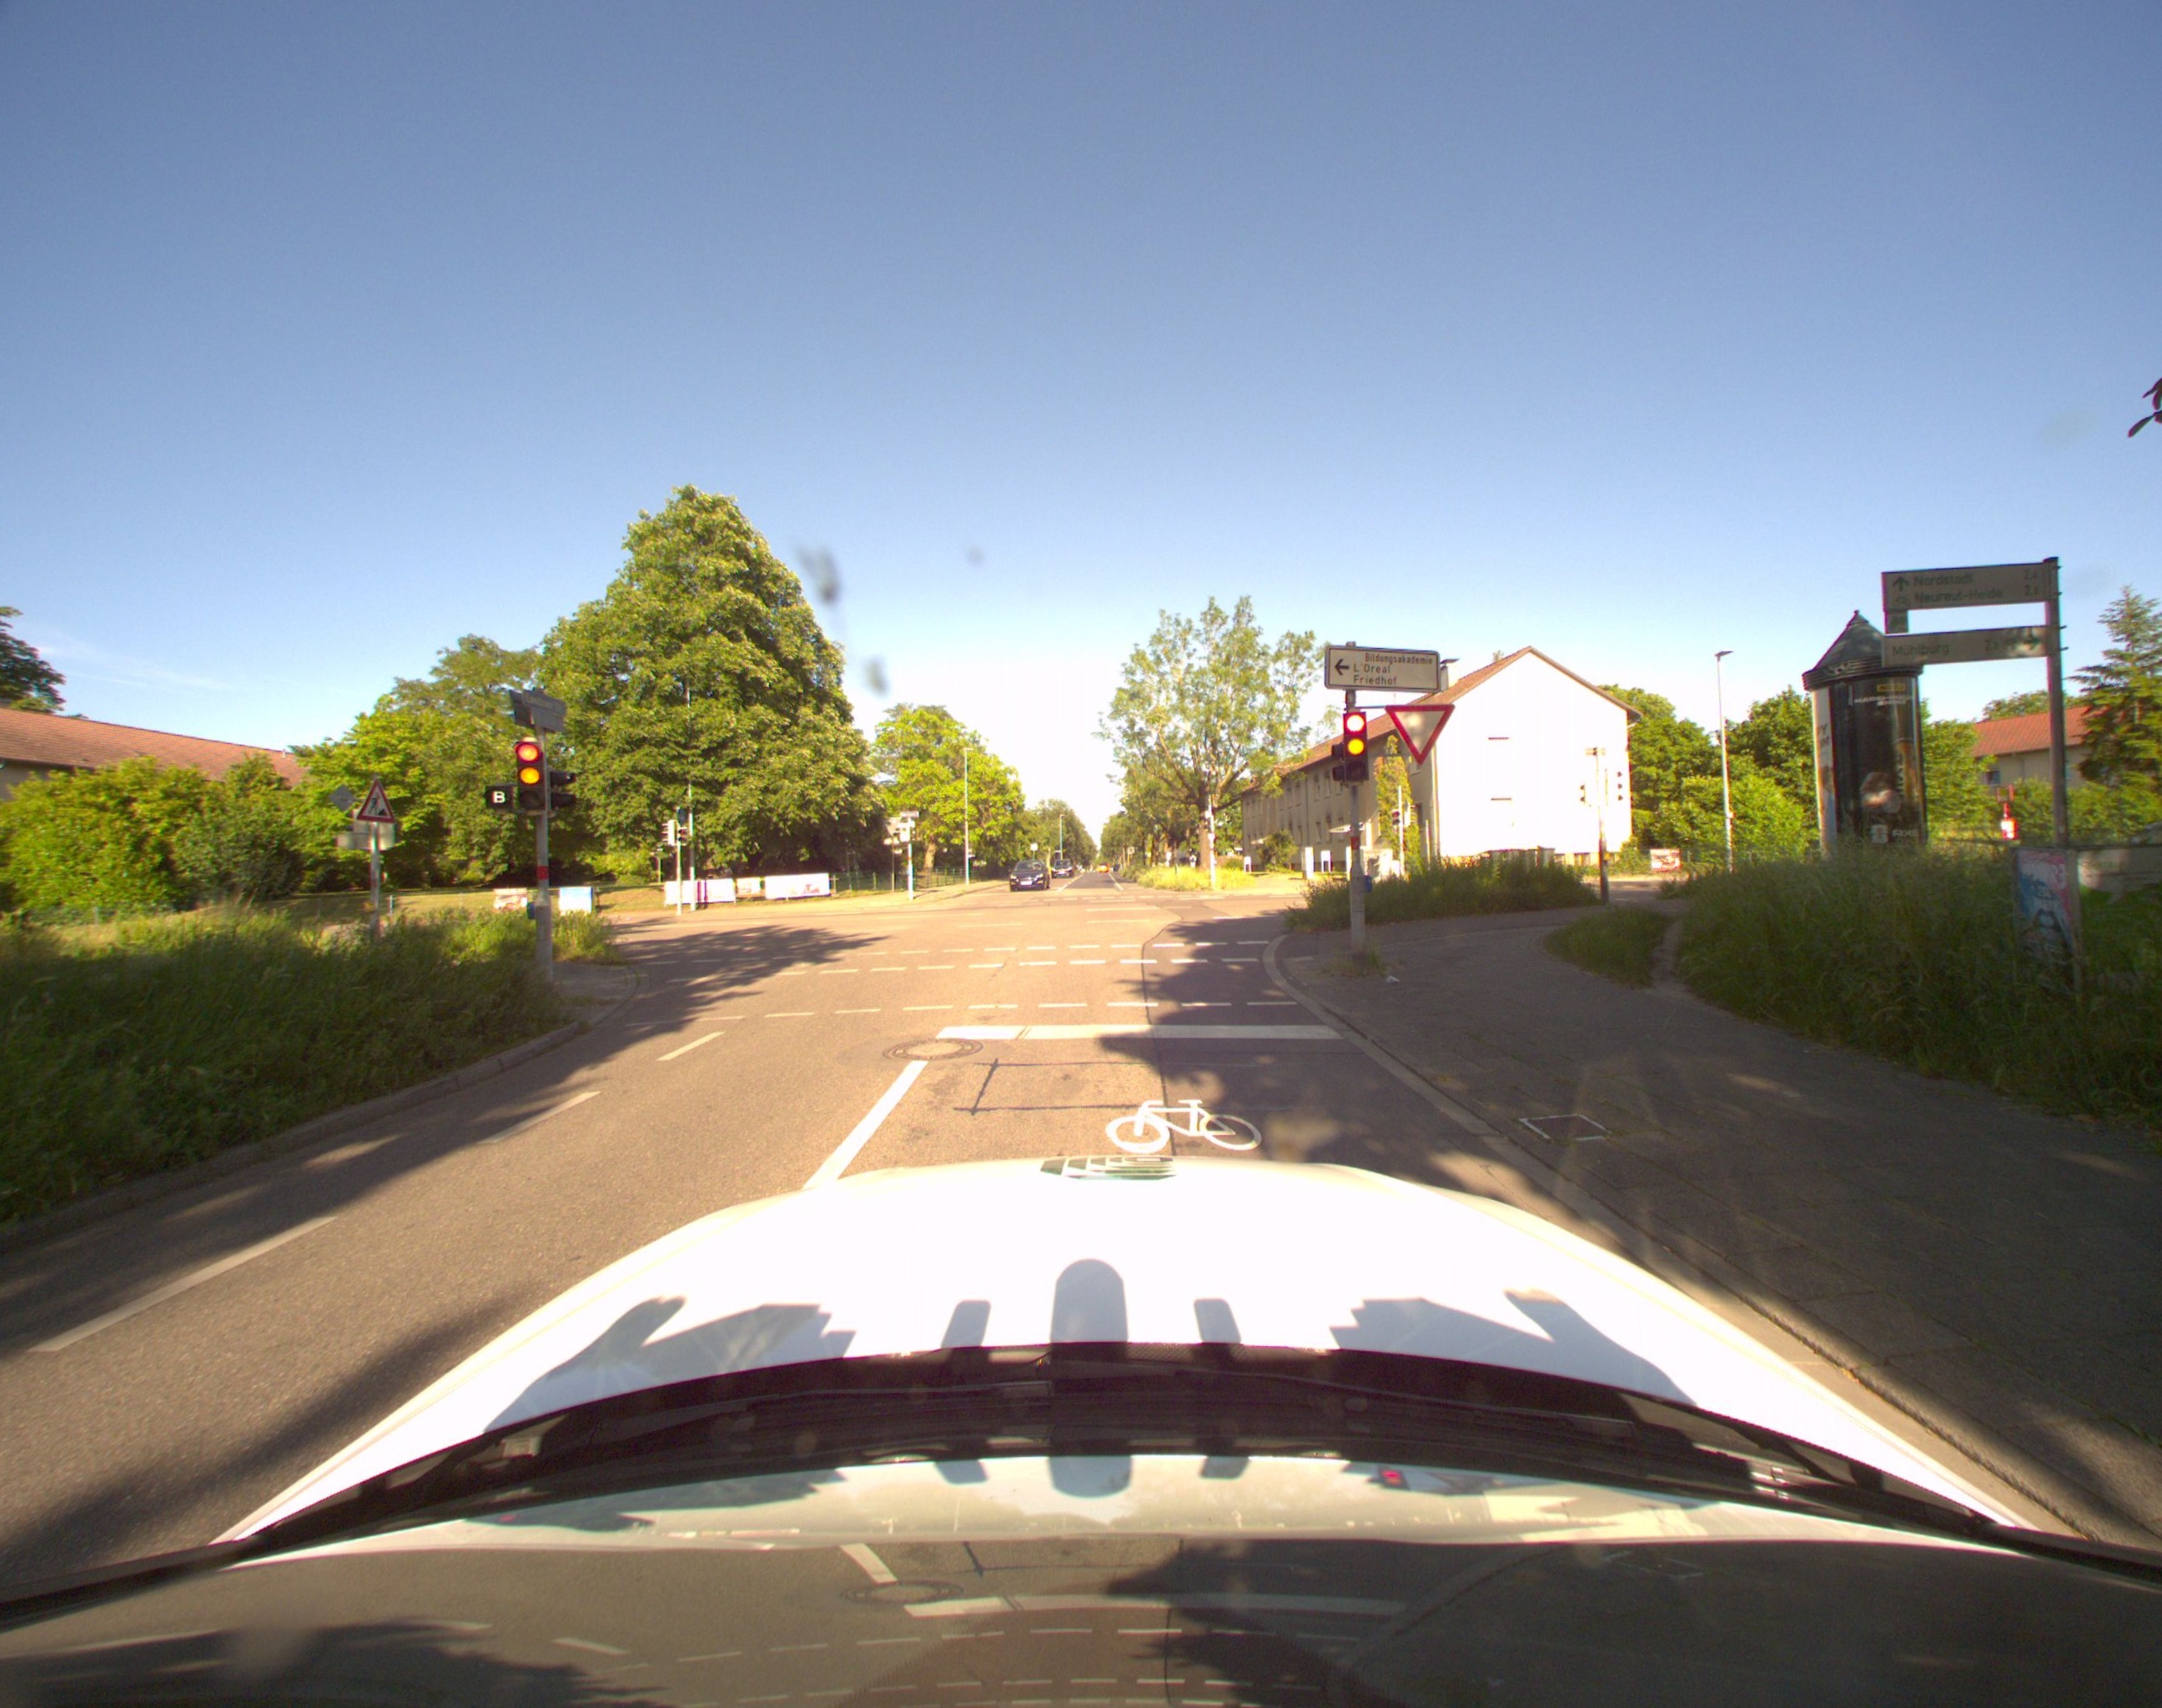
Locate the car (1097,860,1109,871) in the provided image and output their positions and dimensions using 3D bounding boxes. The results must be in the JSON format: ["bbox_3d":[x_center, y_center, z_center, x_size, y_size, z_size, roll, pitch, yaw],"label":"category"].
[{"bbox_3d":[3.509,1.831,130.126,1.745,1.582,4.002,-1,-1,2],"label":"car"}]

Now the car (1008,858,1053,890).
[{"bbox_3d":[-2.375,0.916,38.834,1.704,1.385,3.473,-2,0,3],"label":"car"}]

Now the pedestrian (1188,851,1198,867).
[{"bbox_3d":[10.634,0.486,77.441,0.839,1.493,0.924,1,0,1],"label":"pedestrian"}]

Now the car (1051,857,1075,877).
[{"bbox_3d":[-1.528,1.111,70.127,1.751,1.624,3.271,-2,0,3],"label":"car"}]
